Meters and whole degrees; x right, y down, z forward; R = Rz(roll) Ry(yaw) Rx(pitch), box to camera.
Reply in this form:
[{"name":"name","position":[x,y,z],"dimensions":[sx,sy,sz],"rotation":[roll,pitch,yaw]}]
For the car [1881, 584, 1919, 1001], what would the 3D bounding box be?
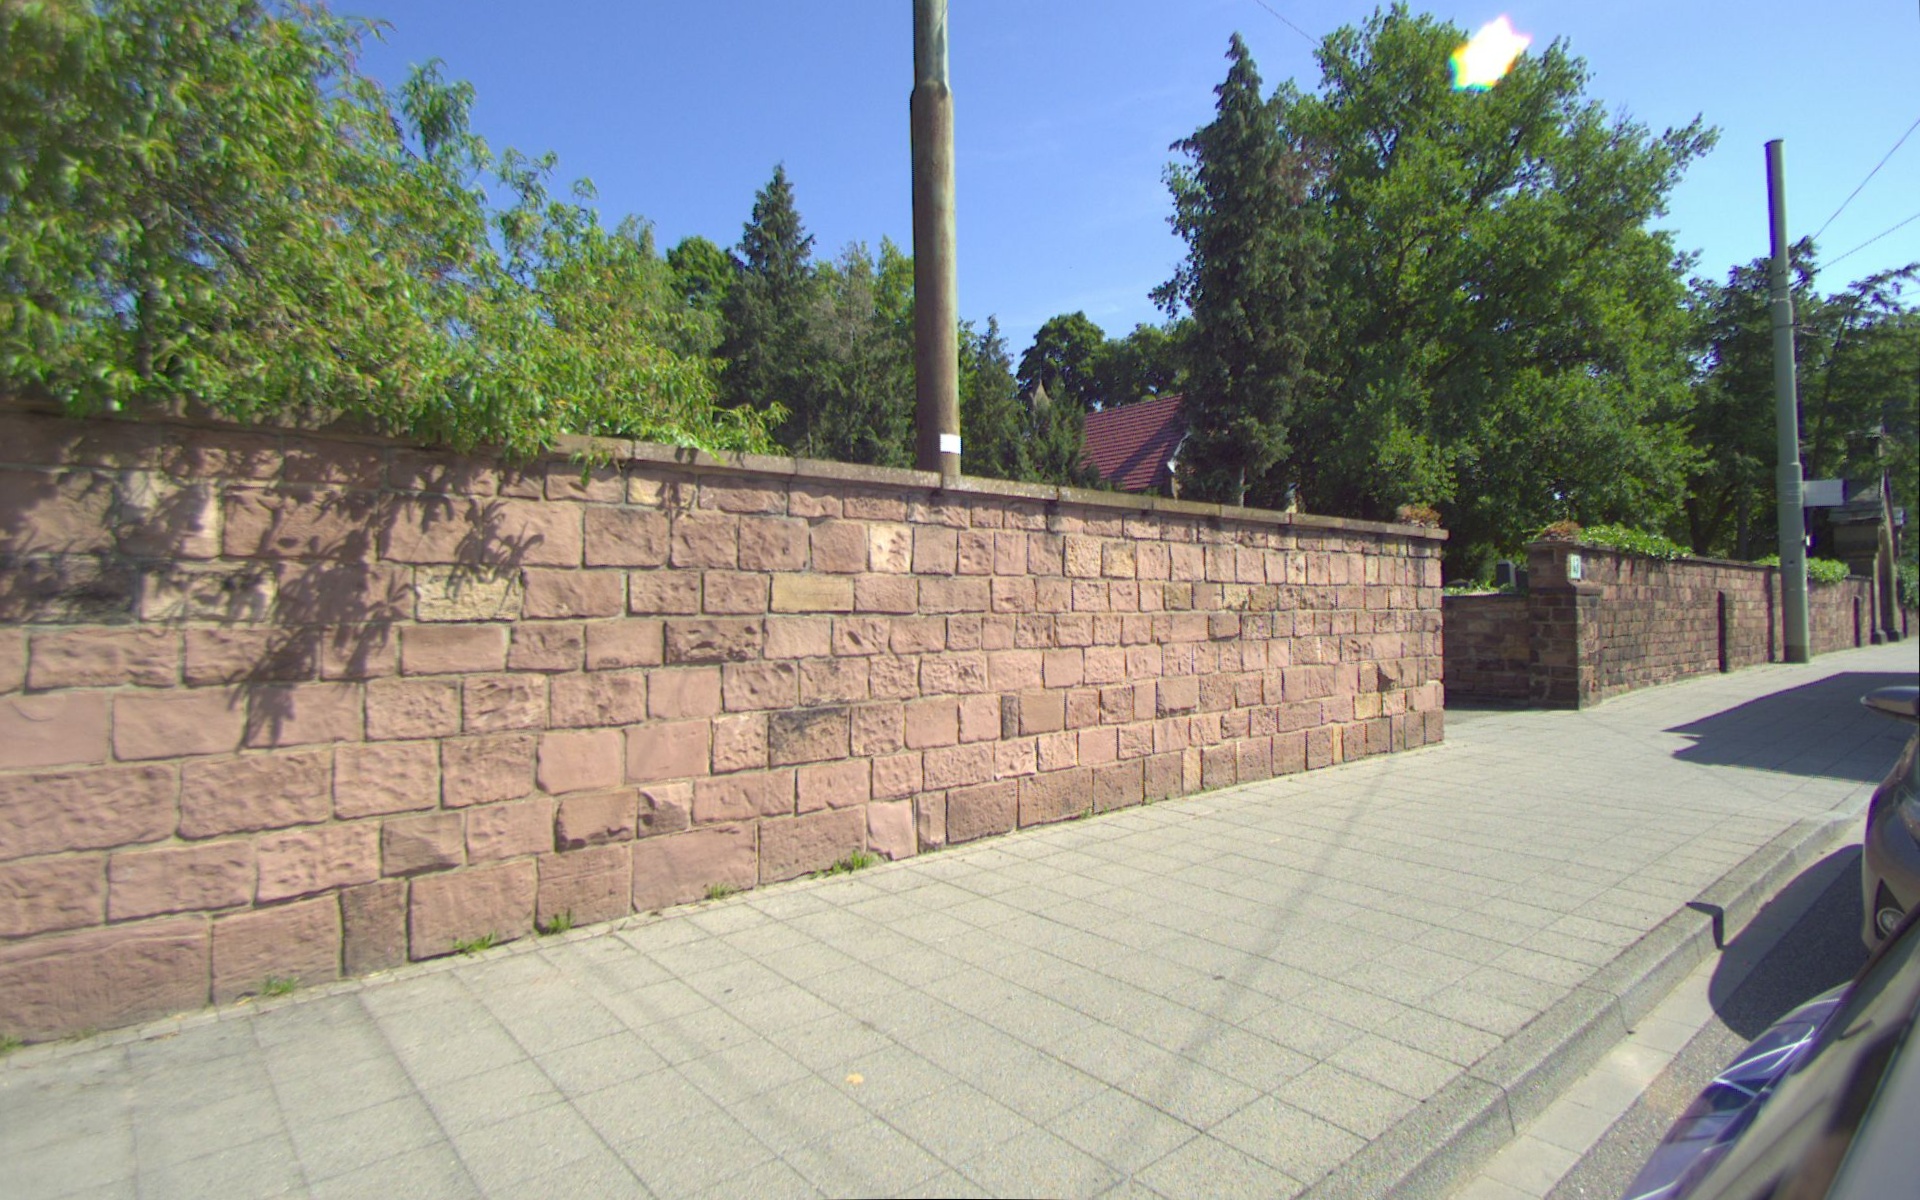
[{"name":"car","position":[5.176,0.644,4.142],"dimensions":[3.930,1.400,1.653],"rotation":[0,1,-41]}]
